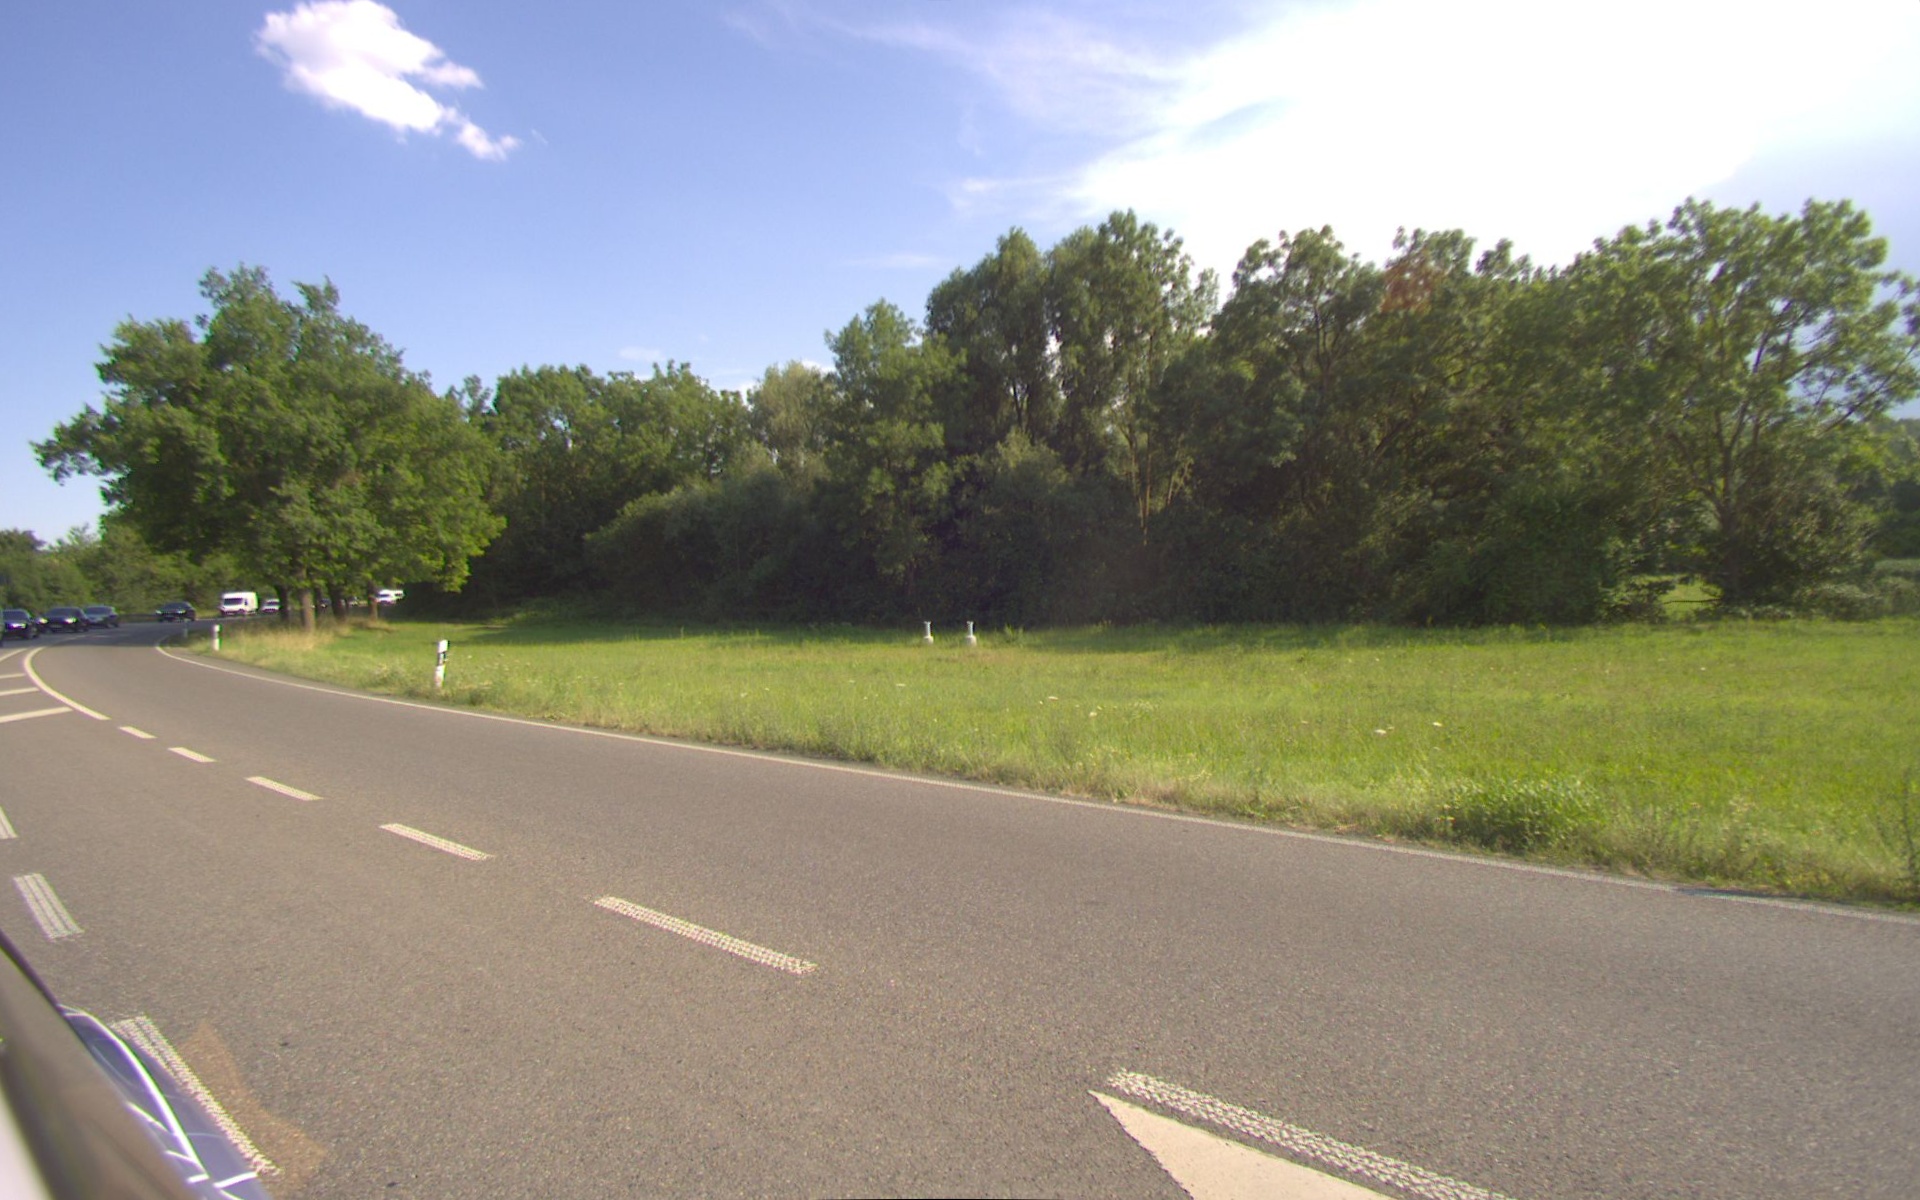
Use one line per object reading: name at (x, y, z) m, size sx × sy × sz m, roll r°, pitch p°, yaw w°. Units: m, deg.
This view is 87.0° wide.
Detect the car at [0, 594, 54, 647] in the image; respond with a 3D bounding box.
car at (-45.708, 0.921, 48.613) m, size 2.054 × 2.435 × 5.159 m, roll -1°, pitch 1°, yaw -28°

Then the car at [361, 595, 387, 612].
car at (-82.976, 0.478, 143.474) m, size 2.054 × 2.435 × 5.158 m, roll -1°, pitch 1°, yaw -17°

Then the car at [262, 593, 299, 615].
car at (-77.675, 0.397, 115.720) m, size 2.054 × 2.435 × 5.158 m, roll -1°, pitch 1°, yaw -17°

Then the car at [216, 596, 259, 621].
car at (-73.919, 0.796, 103.607) m, size 2.054 × 2.435 × 5.158 m, roll -1°, pitch 1°, yaw -17°

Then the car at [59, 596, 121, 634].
car at (-57.916, 0.938, 67.473) m, size 2.054 × 2.435 × 5.159 m, roll -1°, pitch 1°, yaw -28°

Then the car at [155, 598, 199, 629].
car at (-64.937, 1.103, 83.979) m, size 2.054 × 2.435 × 5.159 m, roll -1°, pitch 1°, yaw -28°

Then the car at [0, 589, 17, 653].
car at (-37.798, 0.825, 38.338) m, size 2.054 × 2.435 × 5.157 m, roll -1°, pitch 1°, yaw -32°

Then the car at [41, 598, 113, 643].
car at (-51.704, 1.140, 59.393) m, size 2.054 × 2.435 × 5.159 m, roll -1°, pitch 1°, yaw -28°
